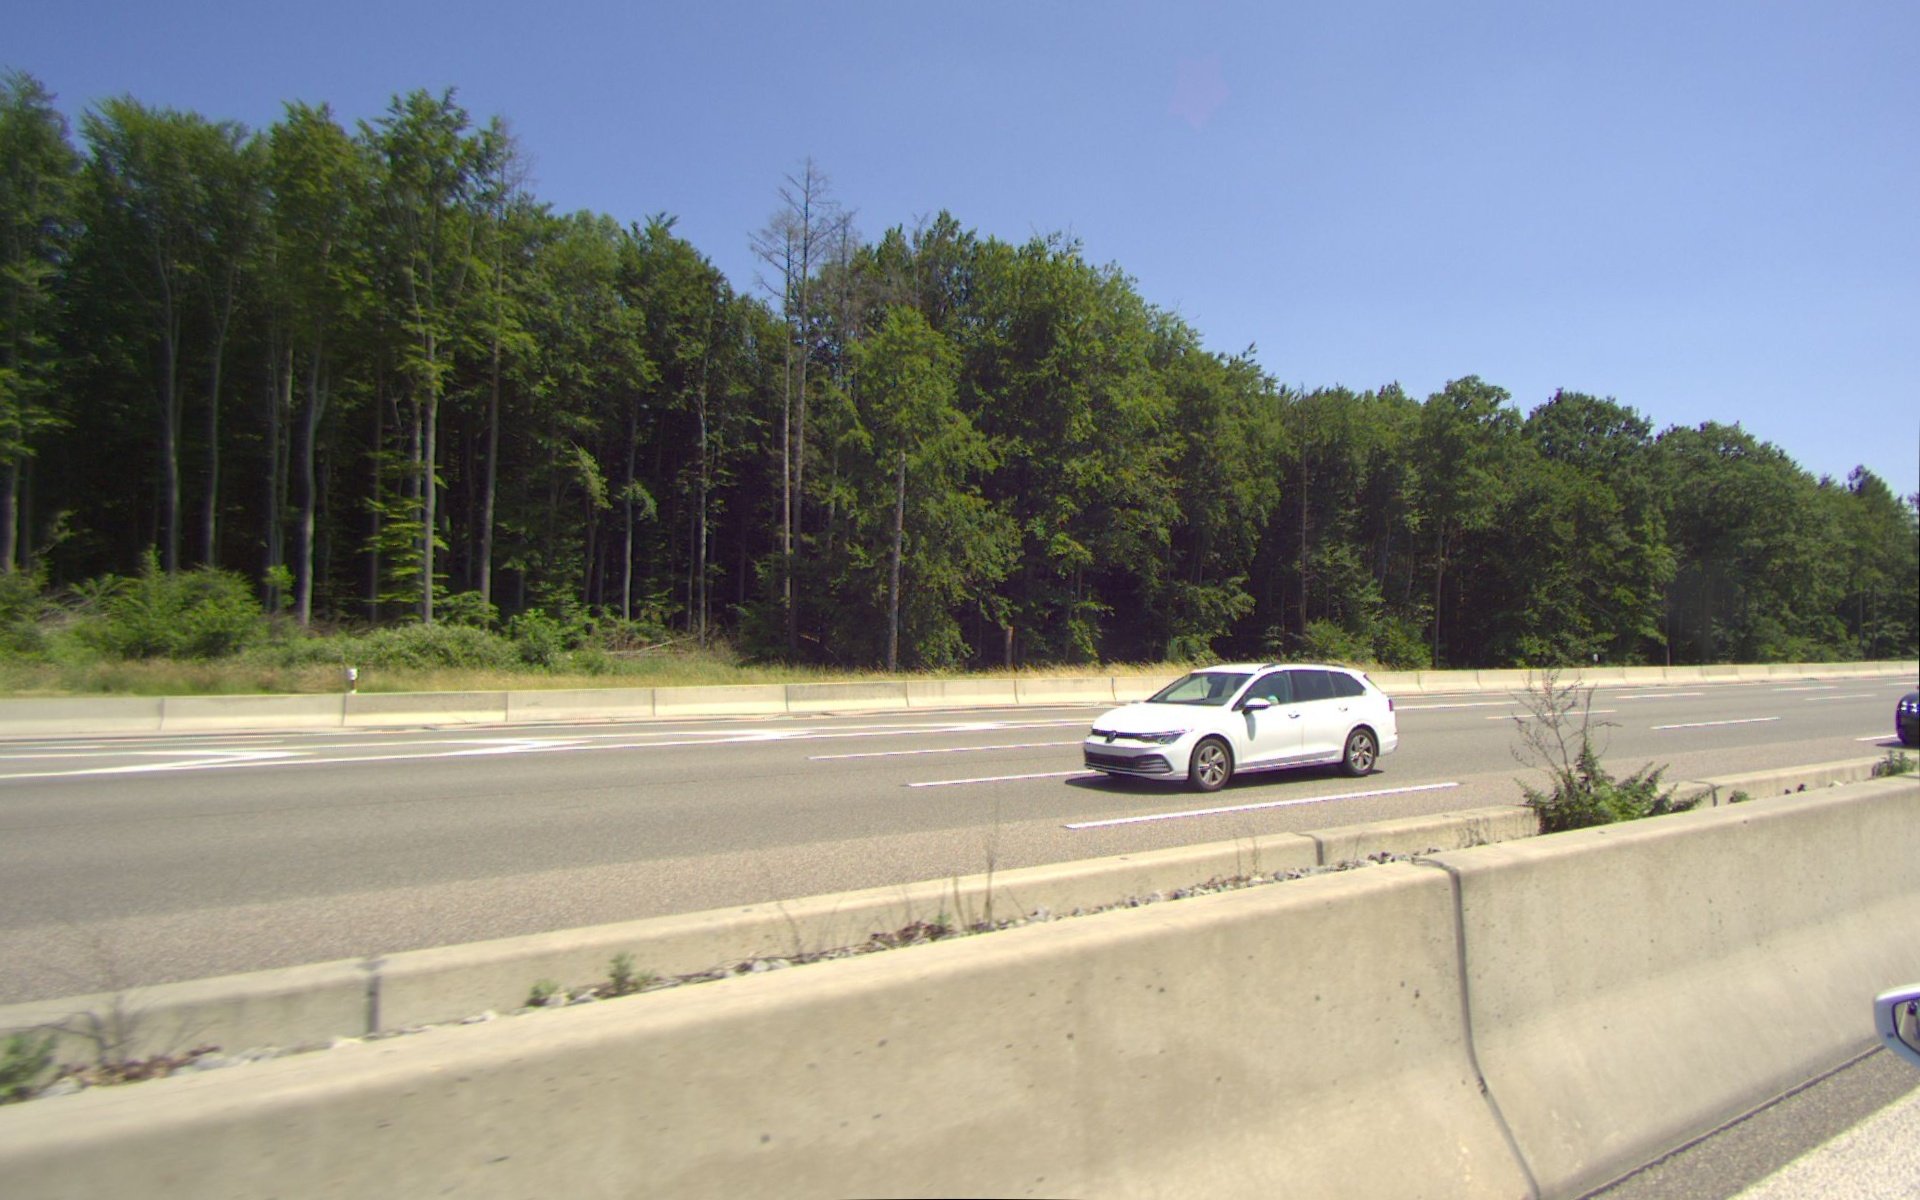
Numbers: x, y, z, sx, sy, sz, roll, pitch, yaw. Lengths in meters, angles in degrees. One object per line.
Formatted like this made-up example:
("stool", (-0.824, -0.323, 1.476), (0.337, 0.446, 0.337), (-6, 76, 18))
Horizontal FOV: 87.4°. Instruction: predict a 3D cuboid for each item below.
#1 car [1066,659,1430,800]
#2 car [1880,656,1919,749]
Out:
("car", (3.810, 1.537, 13.004), (4.783, 1.483, 1.752), (2, -2, -30))
("car", (17.679, 1.731, 16.981), (4.534, 1.483, 1.904), (2, -3, -30))
